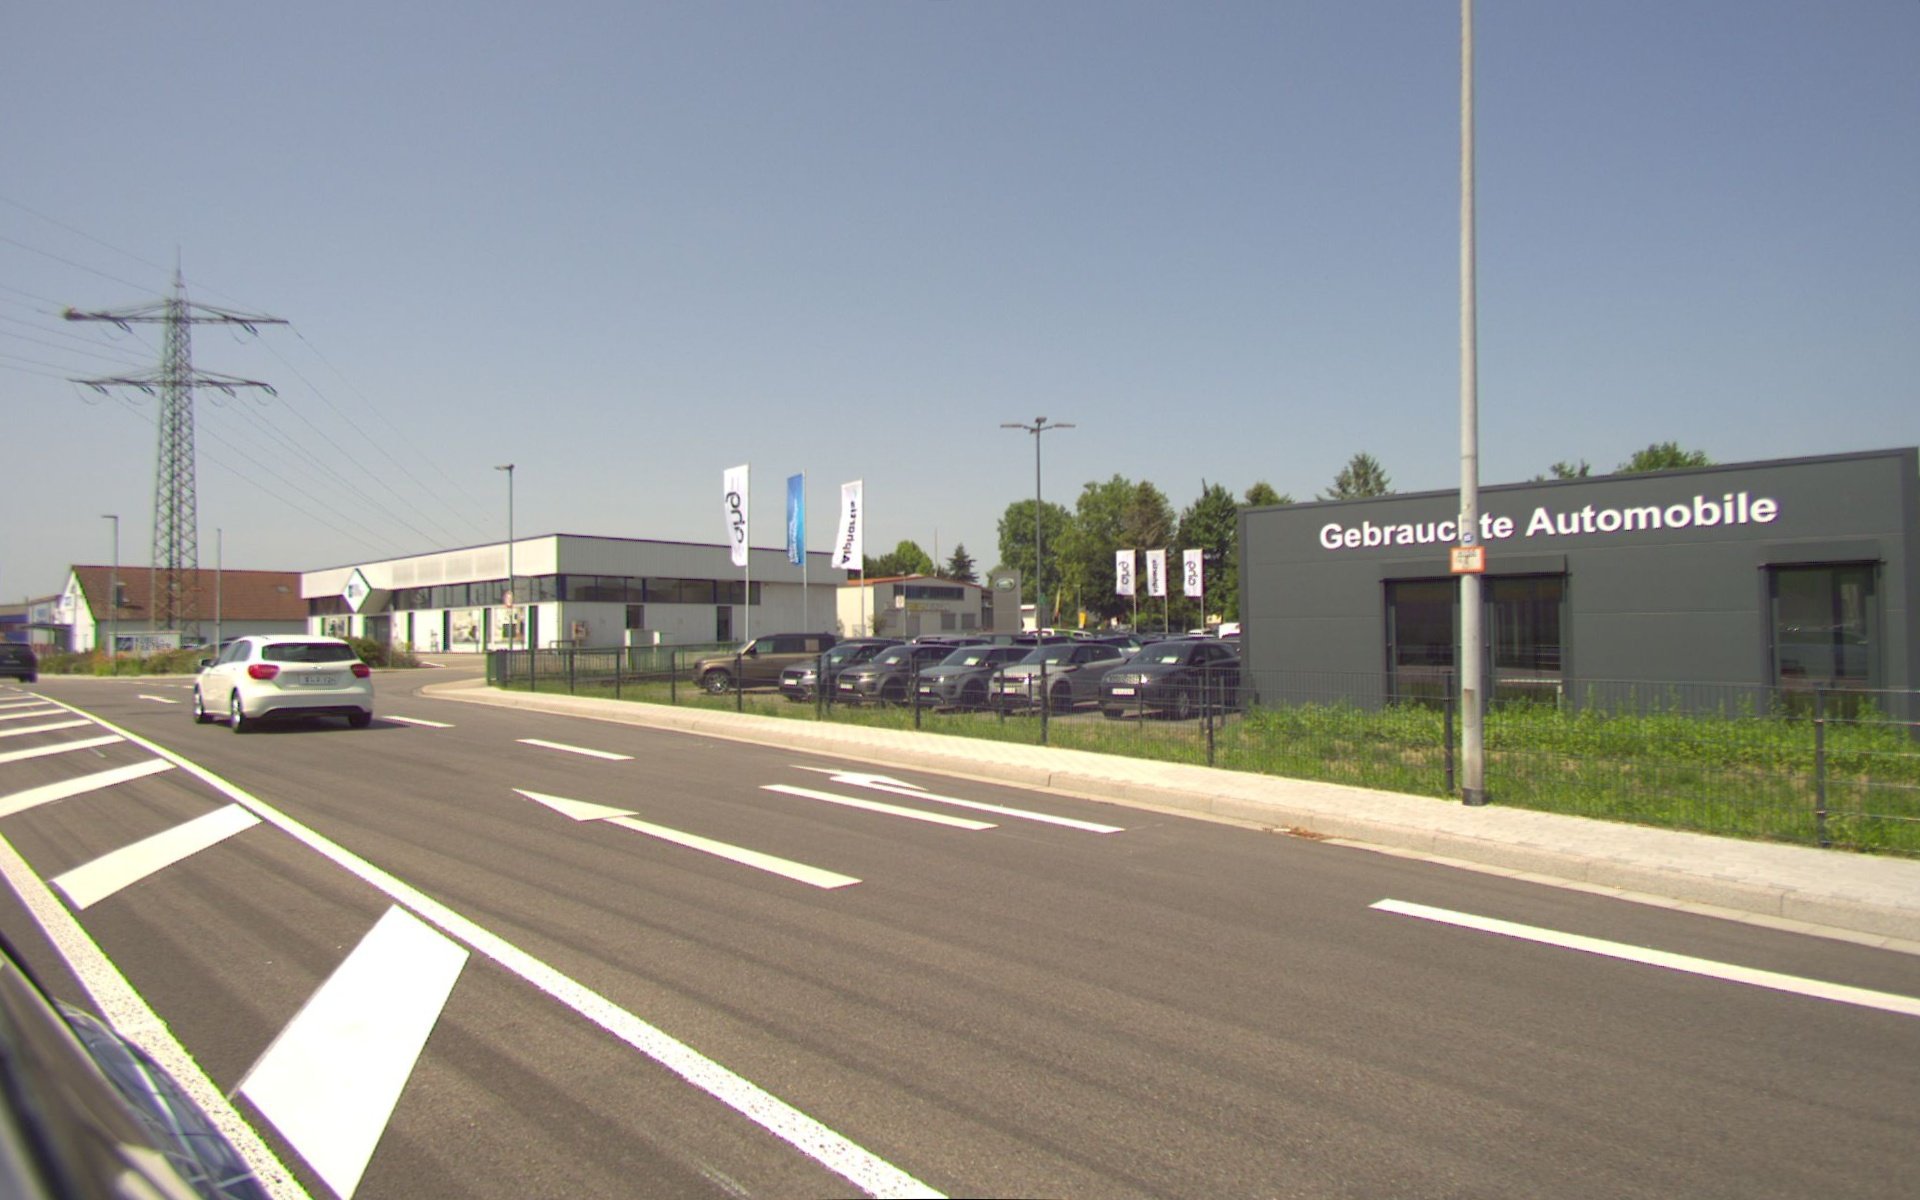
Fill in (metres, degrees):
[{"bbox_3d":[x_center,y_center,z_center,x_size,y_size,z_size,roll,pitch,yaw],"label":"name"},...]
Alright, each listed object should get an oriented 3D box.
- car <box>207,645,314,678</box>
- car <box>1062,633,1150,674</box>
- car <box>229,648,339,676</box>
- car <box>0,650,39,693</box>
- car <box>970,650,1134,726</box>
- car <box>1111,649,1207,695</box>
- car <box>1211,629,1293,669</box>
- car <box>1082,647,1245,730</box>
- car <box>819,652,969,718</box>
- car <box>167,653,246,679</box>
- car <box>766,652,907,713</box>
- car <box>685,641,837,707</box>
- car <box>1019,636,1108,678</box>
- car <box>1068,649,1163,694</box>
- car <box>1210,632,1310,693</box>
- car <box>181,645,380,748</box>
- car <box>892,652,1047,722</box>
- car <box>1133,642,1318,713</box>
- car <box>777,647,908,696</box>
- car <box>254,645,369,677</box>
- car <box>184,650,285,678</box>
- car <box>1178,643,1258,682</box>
[{"bbox_3d":[-36.040,3.152,52.201,1.831,1.660,4.184,-4,-4,37],"label":"car"},{"bbox_3d":[6.351,2.316,43.734,1.975,1.677,3.947,-4,-4,39],"label":"car"},{"bbox_3d":[-33.487,3.069,50.251,1.831,1.325,4.184,-4,-4,37],"label":"car"},{"bbox_3d":[-39.020,2.907,41.144,4.289,1.686,1.857,-4,-4,42],"label":"car"},{"bbox_3d":[2.291,2.050,24.397,1.967,1.644,3.944,-4,-5,41],"label":"car"},{"bbox_3d":[6.905,2.451,34.893,1.684,1.456,3.647,-4,-4,39],"label":"car"},{"bbox_3d":[11.167,1.869,38.628,1.684,1.432,3.647,-4,-4,39],"label":"car"},{"bbox_3d":[4.568,1.886,22.342,1.821,1.644,4.107,-4,-4,39],"label":"car"},{"bbox_3d":[-1.762,2.303,27.977,1.975,1.644,3.947,-4,-4,39],"label":"car"},{"bbox_3d":[-44.834,3.936,60.276,1.503,1.263,3.475,-4,-1,39],"label":"car"},{"bbox_3d":[-3.600,2.387,29.944,1.885,1.644,3.947,-4,-4,39],"label":"car"},{"bbox_3d":[-6.360,2.313,32.384,4.602,1.879,2.071,-1,-1,-11],"label":"car"},{"bbox_3d":[4.728,2.552,45.790,1.965,1.747,4.261,-4,-4,39],"label":"car"},{"bbox_3d":[5.578,2.535,36.071,1.684,1.456,3.647,-4,-4,39],"label":"car"},{"bbox_3d":[9.674,1.971,32.436,1.684,1.842,3.799,-4,-4,39],"label":"car"},{"bbox_3d":[-10.909,1.447,16.138,4.050,1.426,1.761,-3,-4,43],"label":"car"},{"bbox_3d":[0.309,2.193,26.136,1.975,1.644,3.947,-4,-4,39],"label":"car"},{"bbox_3d":[6.667,1.947,25.697,4.159,1.644,1.798,-4,-5,41],"label":"car"},{"bbox_3d":[-4.111,2.495,35.604,4.439,1.574,1.929,0,-2,-6],"label":"car"},{"bbox_3d":[-30.449,2.839,47.603,1.831,1.405,4.184,-4,-4,37],"label":"car"},{"bbox_3d":[-38.647,3.399,54.000,1.995,1.425,3.954,-3,-4,34],"label":"car"},{"bbox_3d":[10.291,2.465,40.261,1.684,1.456,3.647,-4,-4,39],"label":"car"}]
